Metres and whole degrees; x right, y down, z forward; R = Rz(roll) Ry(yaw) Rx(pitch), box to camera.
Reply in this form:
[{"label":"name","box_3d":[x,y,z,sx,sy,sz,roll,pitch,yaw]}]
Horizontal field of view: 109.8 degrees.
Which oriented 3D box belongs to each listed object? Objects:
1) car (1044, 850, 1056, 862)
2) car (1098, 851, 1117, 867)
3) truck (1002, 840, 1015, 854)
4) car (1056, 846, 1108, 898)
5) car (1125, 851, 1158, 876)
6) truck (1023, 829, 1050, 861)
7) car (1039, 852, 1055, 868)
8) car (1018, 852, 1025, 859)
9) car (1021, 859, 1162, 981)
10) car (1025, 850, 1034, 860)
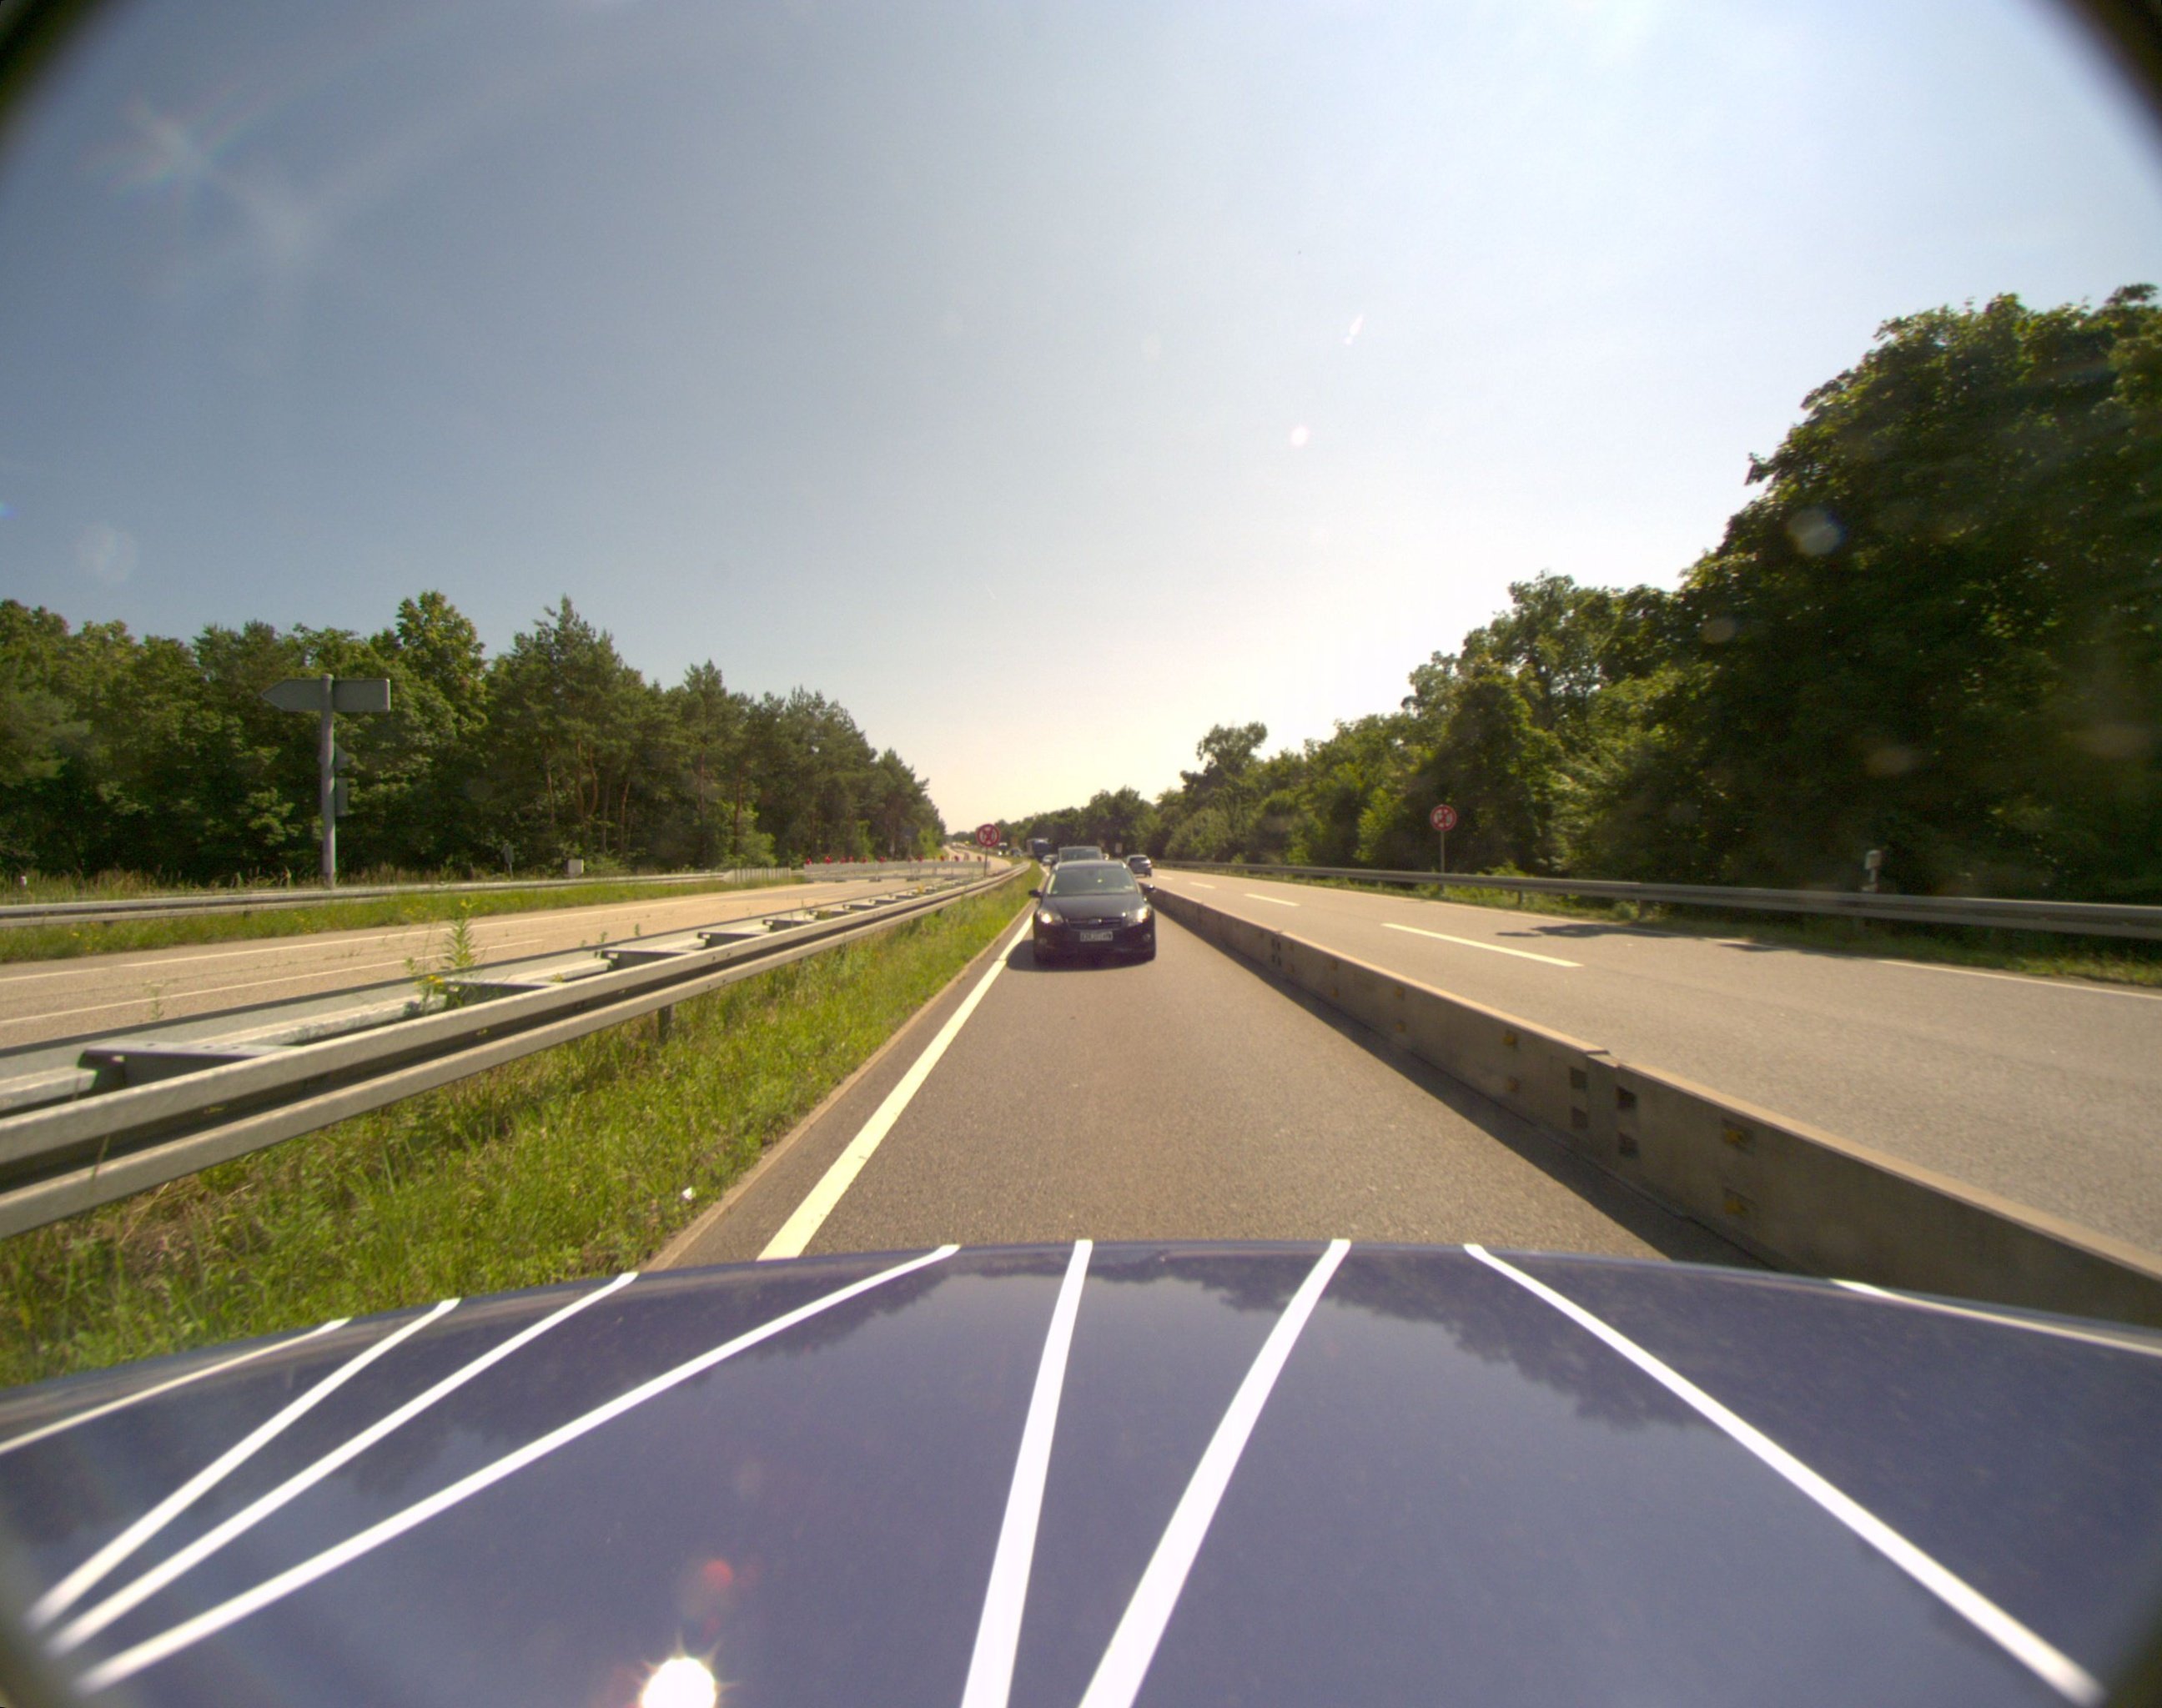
[{"label":"car","box_3d":[-4.237,0.300,104.175,1.528,1.647,3.752,0,0,-5]},{"label":"car","box_3d":[2.839,0.542,81.148,1.834,1.620,3.784,-1,0,0]},{"label":"truck","box_3d":[-22.688,-2.117,237.072,3.831,4.265,11.240,-1,0,-5]},{"label":"car","box_3d":[-0.024,0.674,32.120,1.960,1.902,4.933,-2,2,-2]},{"label":"car","box_3d":[4.077,0.591,51.742,1.953,1.570,4.435,-2,1,1]},{"label":"truck","box_3d":[-7.679,-1.477,130.402,3.831,5.266,11.238,-1,0,-7]},{"label":"car","box_3d":[-3.731,0.642,83.028,1.528,1.647,3.978,0,0,-5]},{"label":"car","box_3d":[-14.792,0.334,188.762,1.528,1.647,3.977,0,0,-8]},{"label":"car","box_3d":[0.060,0.896,12.654,1.847,1.537,4.934,-2,0,-2]},{"label":"car","box_3d":[-10.527,0.187,155.826,1.527,1.648,3.977,-4,2,-5]}]
